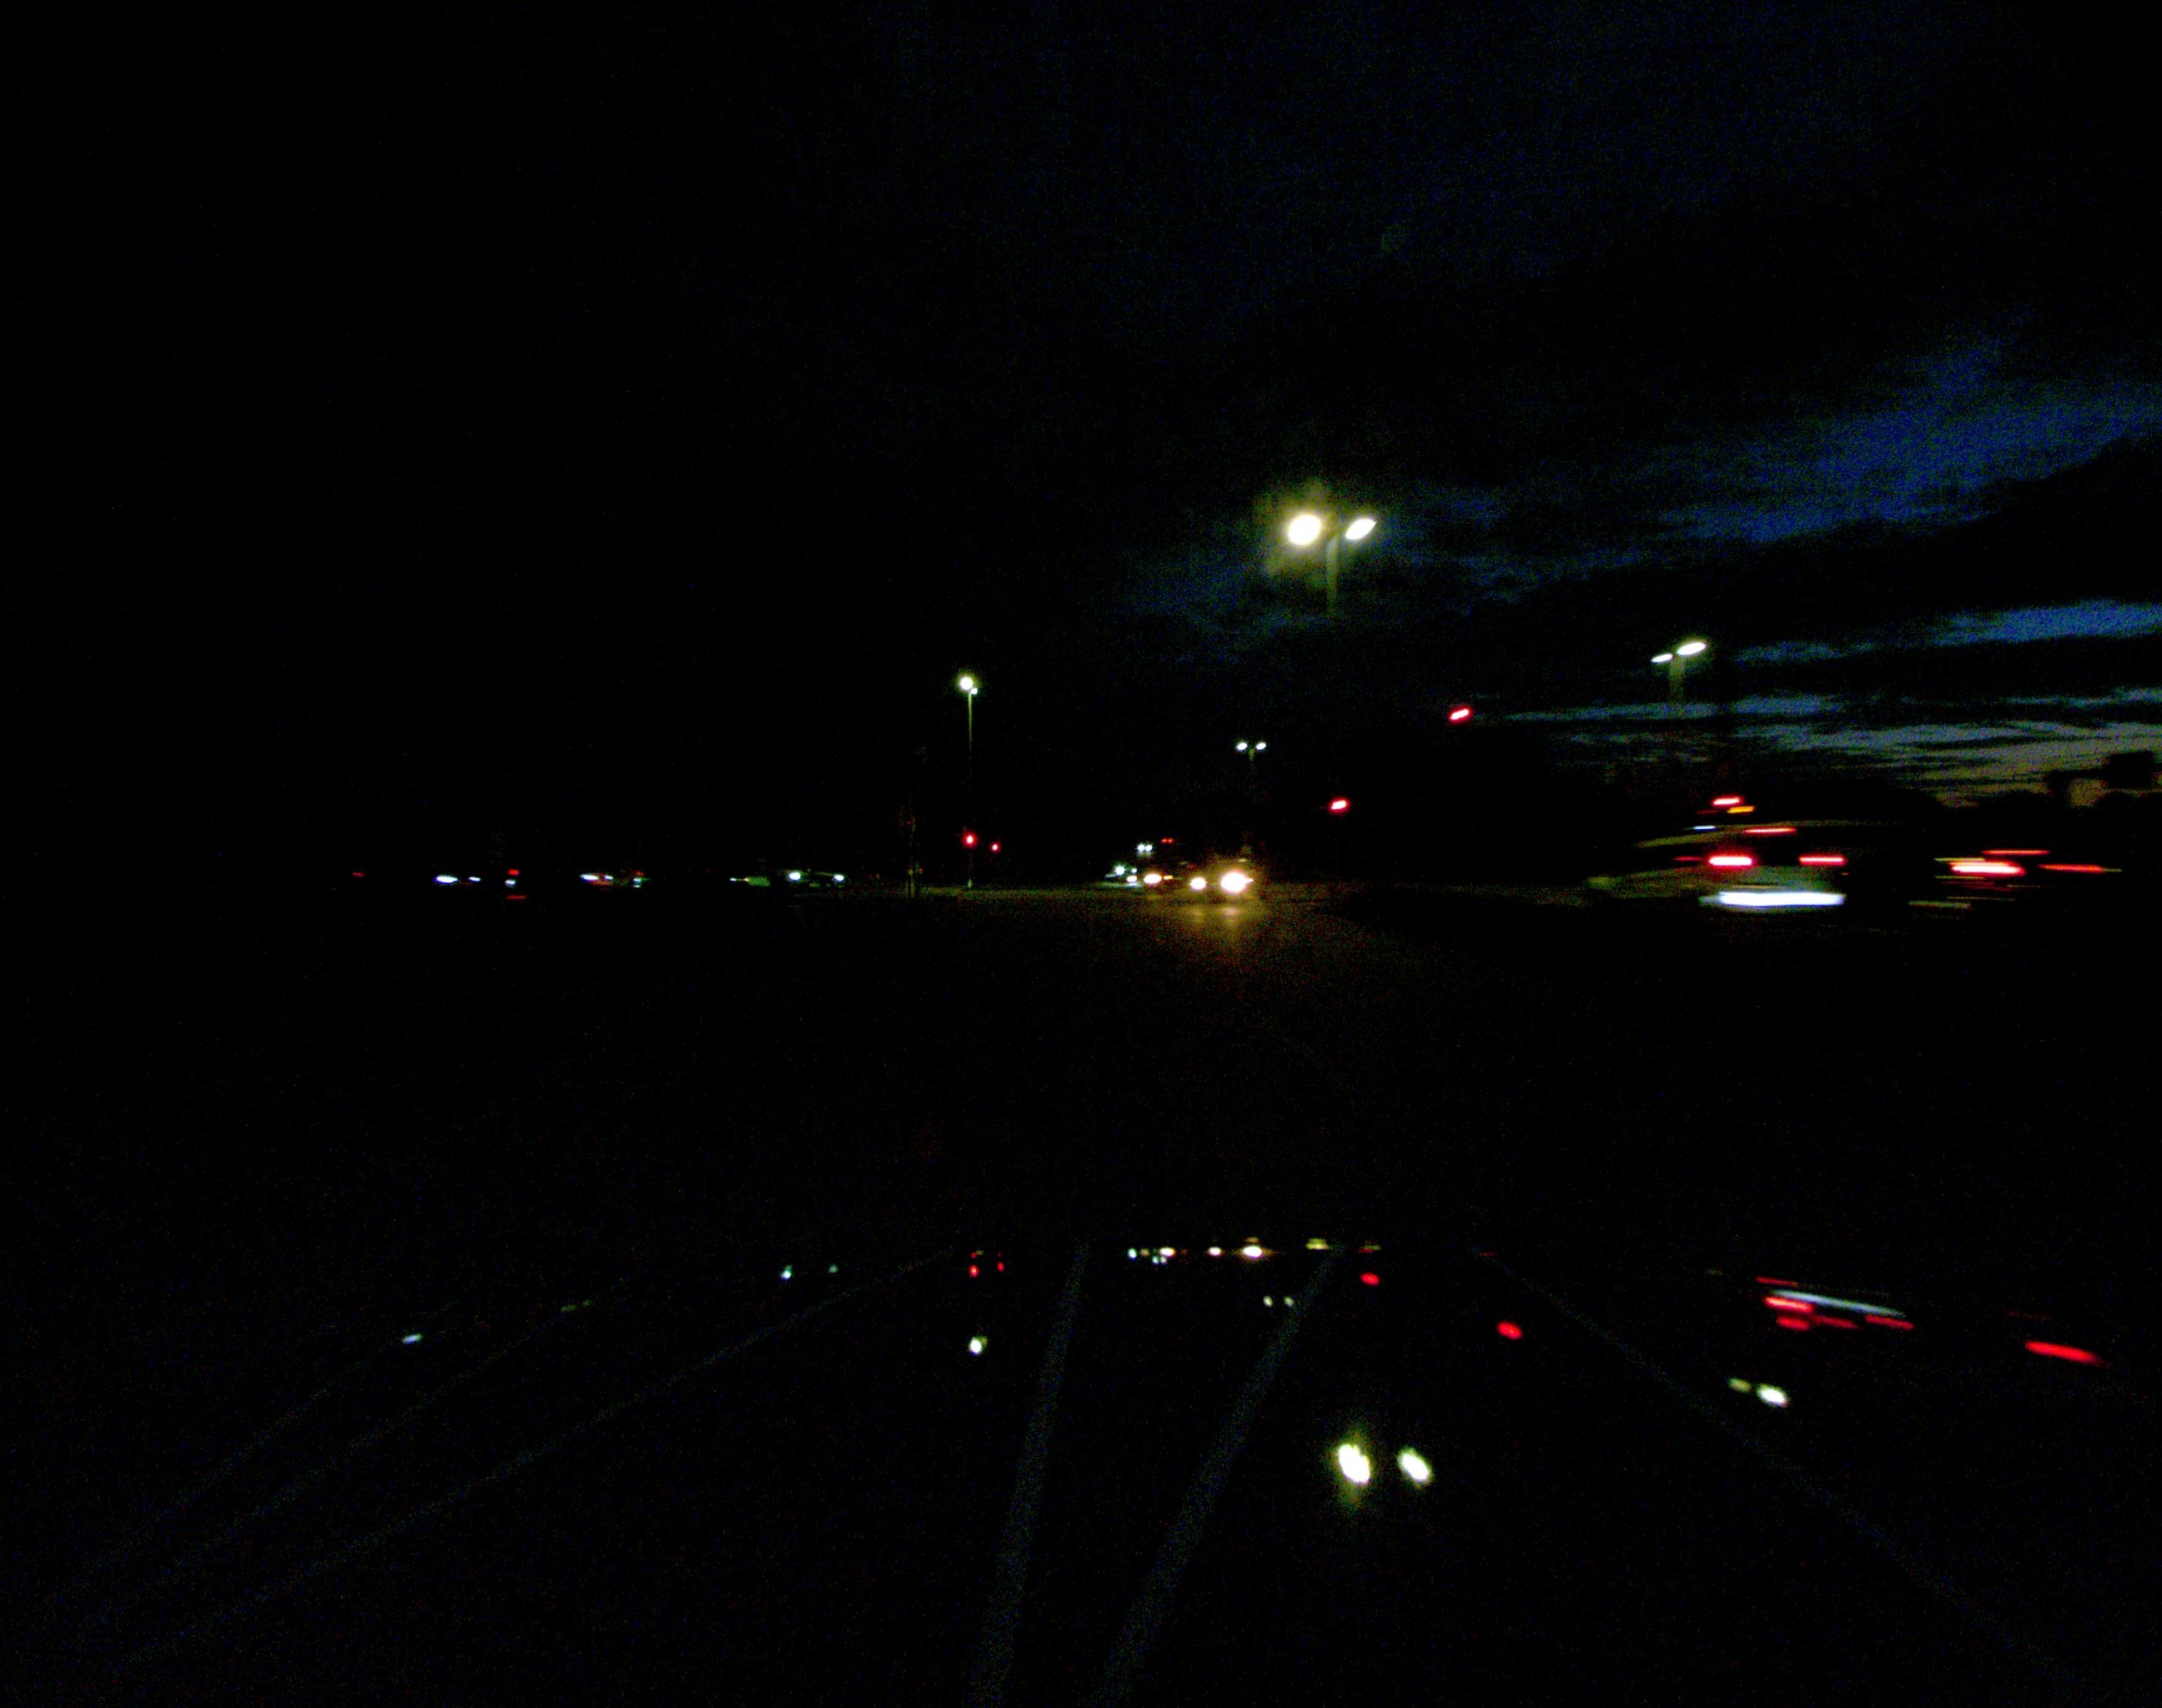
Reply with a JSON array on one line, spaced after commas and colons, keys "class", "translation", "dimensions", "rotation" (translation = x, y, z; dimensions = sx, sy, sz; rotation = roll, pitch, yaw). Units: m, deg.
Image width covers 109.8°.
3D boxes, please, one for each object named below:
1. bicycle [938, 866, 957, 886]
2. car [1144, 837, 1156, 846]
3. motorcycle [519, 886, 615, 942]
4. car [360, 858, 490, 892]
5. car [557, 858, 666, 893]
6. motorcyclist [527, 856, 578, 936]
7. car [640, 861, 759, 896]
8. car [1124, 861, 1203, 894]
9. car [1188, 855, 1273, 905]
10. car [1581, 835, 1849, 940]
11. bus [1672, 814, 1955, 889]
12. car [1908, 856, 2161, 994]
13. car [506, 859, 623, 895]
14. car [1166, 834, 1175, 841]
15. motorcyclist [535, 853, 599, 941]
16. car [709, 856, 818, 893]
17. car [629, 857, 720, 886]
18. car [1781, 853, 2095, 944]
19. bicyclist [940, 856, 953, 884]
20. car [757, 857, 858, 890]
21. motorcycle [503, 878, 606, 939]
[{"class": "bicycle", "translation": [-7.825, 1.281, 44.617], "dimensions": [0.694, 1.094, 2.068], "rotation": [0, 0, 1]}, {"class": "car", "translation": [12.993, -2.291, 142.231], "dimensions": [1.696, 1.586, 3.930], "rotation": [-1, -1, 13]}, {"class": "motorcycle", "translation": [-11.495, 1.325, 17.054], "dimensions": [1.578, 1.028, 0.721], "rotation": [-5, 5, -23]}, {"class": "car", "translation": [-28.960, 0.910, 33.596], "dimensions": [4.391, 1.382, 1.838], "rotation": [0, 0, 6]}, {"class": "car", "translation": [-22.799, 1.046, 36.951], "dimensions": [4.356, 1.617, 1.752], "rotation": [0, 0, 7]}, {"class": "motorcyclist", "translation": [-12.323, 0.951, 17.744], "dimensions": [0.791, 1.750, 0.682], "rotation": [-5, 5, -29]}, {"class": "car", "translation": [-16.344, 1.031, 32.637], "dimensions": [4.285, 1.437, 1.788], "rotation": [0, -1, 8]}, {"class": "car", "translation": [3.969, 1.083, 36.144], "dimensions": [3.784, 1.471, 1.667], "rotation": [0, -1, -43]}, {"class": "car", "translation": [5.471, 0.888, 27.365], "dimensions": [1.667, 1.643, 4.420], "rotation": [-1, -1, 30]}, {"class": "car", "translation": [12.498, 0.607, 15.499], "dimensions": [1.847, 1.803, 4.777], "rotation": [0, -1, 6]}, {"class": "bus", "translation": [39.650, -0.074, 41.458], "dimensions": [12.262, 3.767, 2.617], "rotation": [-1, -1, 4]}, {"class": "car", "translation": [11.887, 0.716, 7.753], "dimensions": [1.875, 1.389, 4.840], "rotation": [-1, 0, 4]}, {"class": "car", "translation": [-22.554, 0.990, 33.275], "dimensions": [3.995, 1.516, 1.838], "rotation": [0, 0, 6]}, {"class": "car", "translation": [21.482, -4.034, 182.001], "dimensions": [1.739, 1.564, 4.059], "rotation": [-2, 1, 2]}, {"class": "motorcyclist", "translation": [-11.488, 0.934, 17.014], "dimensions": [0.871, 1.799, 0.915], "rotation": [-5, 5, -23]}, {"class": "car", "translation": [-15.001, 0.942, 36.011], "dimensions": [4.414, 1.672, 1.916], "rotation": [0, -1, 7]}, {"class": "car", "translation": [-21.212, 0.927, 39.713], "dimensions": [3.904, 1.472, 1.780], "rotation": [0, -1, 7]}, {"class": "car", "translation": [15.459, 0.734, 14.069], "dimensions": [1.773, 1.439, 3.783], "rotation": [0, -1, 6]}, {"class": "bicyclist", "translation": [-7.867, 0.923, 44.476], "dimensions": [0.603, 1.641, 1.000], "rotation": [0, 0, 1]}, {"class": "car", "translation": [-14.192, 0.990, 39.602], "dimensions": [4.579, 1.623, 1.859], "rotation": [0, 0, 7]}, {"class": "motorcycle", "translation": [-12.239, 1.243, 17.756], "dimensions": [1.824, 1.175, 0.847], "rotation": [-4, 4, -29]}]
